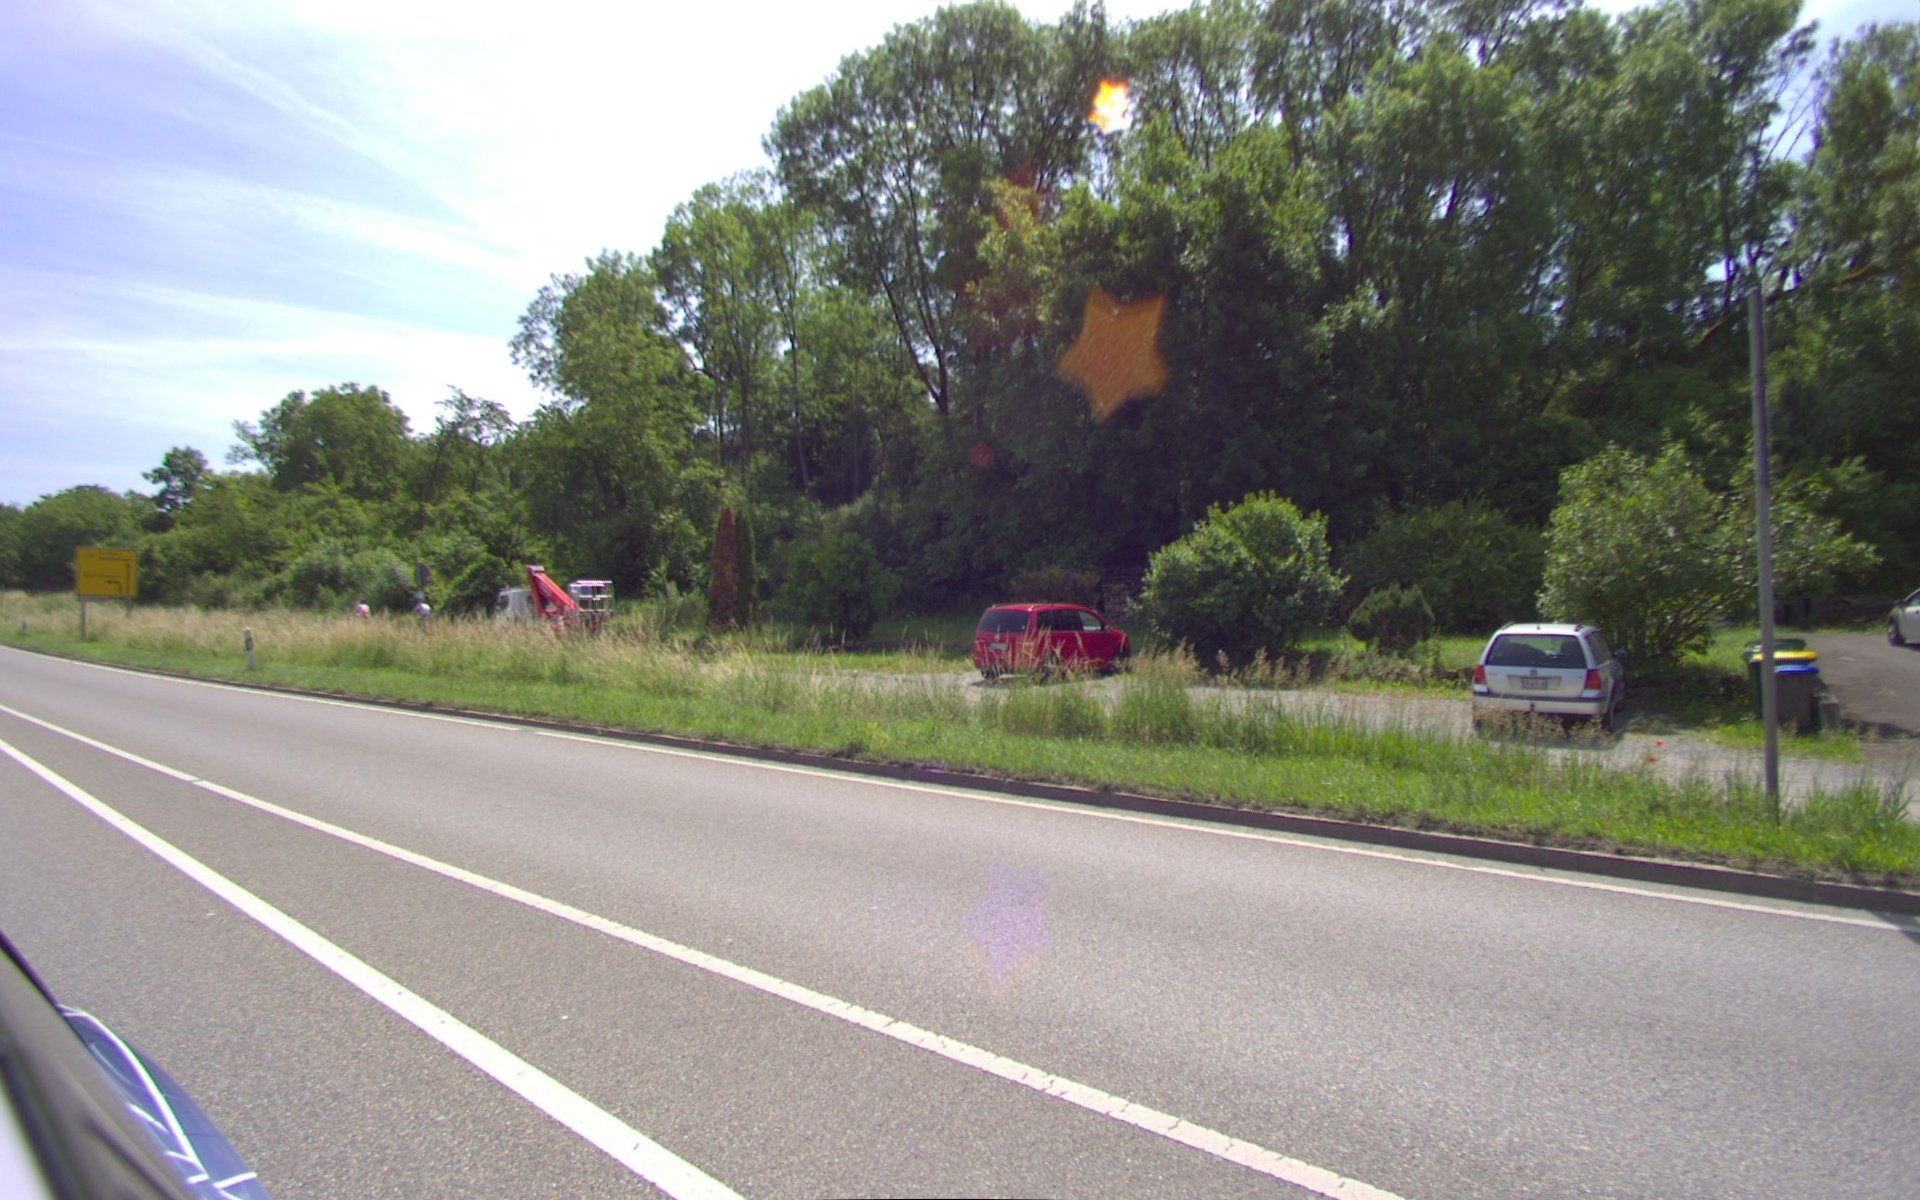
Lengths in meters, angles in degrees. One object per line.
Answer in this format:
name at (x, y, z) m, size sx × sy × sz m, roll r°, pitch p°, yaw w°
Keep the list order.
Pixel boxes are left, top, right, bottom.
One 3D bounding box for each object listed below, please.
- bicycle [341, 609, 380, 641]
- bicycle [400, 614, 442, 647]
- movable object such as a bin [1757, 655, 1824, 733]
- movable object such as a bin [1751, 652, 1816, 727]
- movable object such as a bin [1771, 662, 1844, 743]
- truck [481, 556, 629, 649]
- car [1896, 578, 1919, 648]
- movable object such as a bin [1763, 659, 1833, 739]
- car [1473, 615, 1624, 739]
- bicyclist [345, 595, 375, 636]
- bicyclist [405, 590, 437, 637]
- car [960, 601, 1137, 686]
bicycle at (-24.033, 0.993, 40.565) m, size 2.104 × 1.221 × 0.741 m, roll -1°, pitch 1°, yaw 42°
bicycle at (-20.119, 1.115, 37.782) m, size 2.105 × 1.189 × 0.740 m, roll -1°, pitch 1°, yaw 44°
movable object such as a bin at (11.313, 1.266, 13.801) m, size 0.653 × 0.978 × 0.499 m, roll 0°, pitch 0°, yaw 34°
movable object such as a bin at (11.580, 1.240, 14.246) m, size 0.653 × 0.983 × 0.499 m, roll 0°, pitch 0°, yaw 34°
movable object such as a bin at (10.787, 1.292, 12.895) m, size 0.653 × 0.943 × 0.499 m, roll 0°, pitch 0°, yaw 34°
truck at (-14.274, 0.091, 35.409) m, size 6.772 × 2.986 × 2.005 m, roll -1°, pitch 1°, yaw 42°
car at (21.204, 0.292, 21.075) m, size 1.664 × 1.457 × 3.356 m, roll -1°, pitch 2°, yaw 28°
movable object such as a bin at (11.041, 1.286, 13.350) m, size 0.653 × 0.977 × 0.499 m, roll 0°, pitch 0°, yaw 34°
car at (8.601, 1.007, 14.671) m, size 1.607 × 1.476 × 3.348 m, roll -1°, pitch 0°, yaw 35°
bicyclist at (-24.036, 0.620, 40.553) m, size 0.936 × 1.607 × 0.740 m, roll -1°, pitch 1°, yaw 42°
bicyclist at (-20.117, 0.493, 37.763) m, size 0.936 × 1.727 × 0.740 m, roll -1°, pitch 1°, yaw 44°
car at (2.009, 0.872, 22.096) m, size 1.833 × 1.631 × 3.984 m, roll -1°, pitch 0°, yaw 42°
